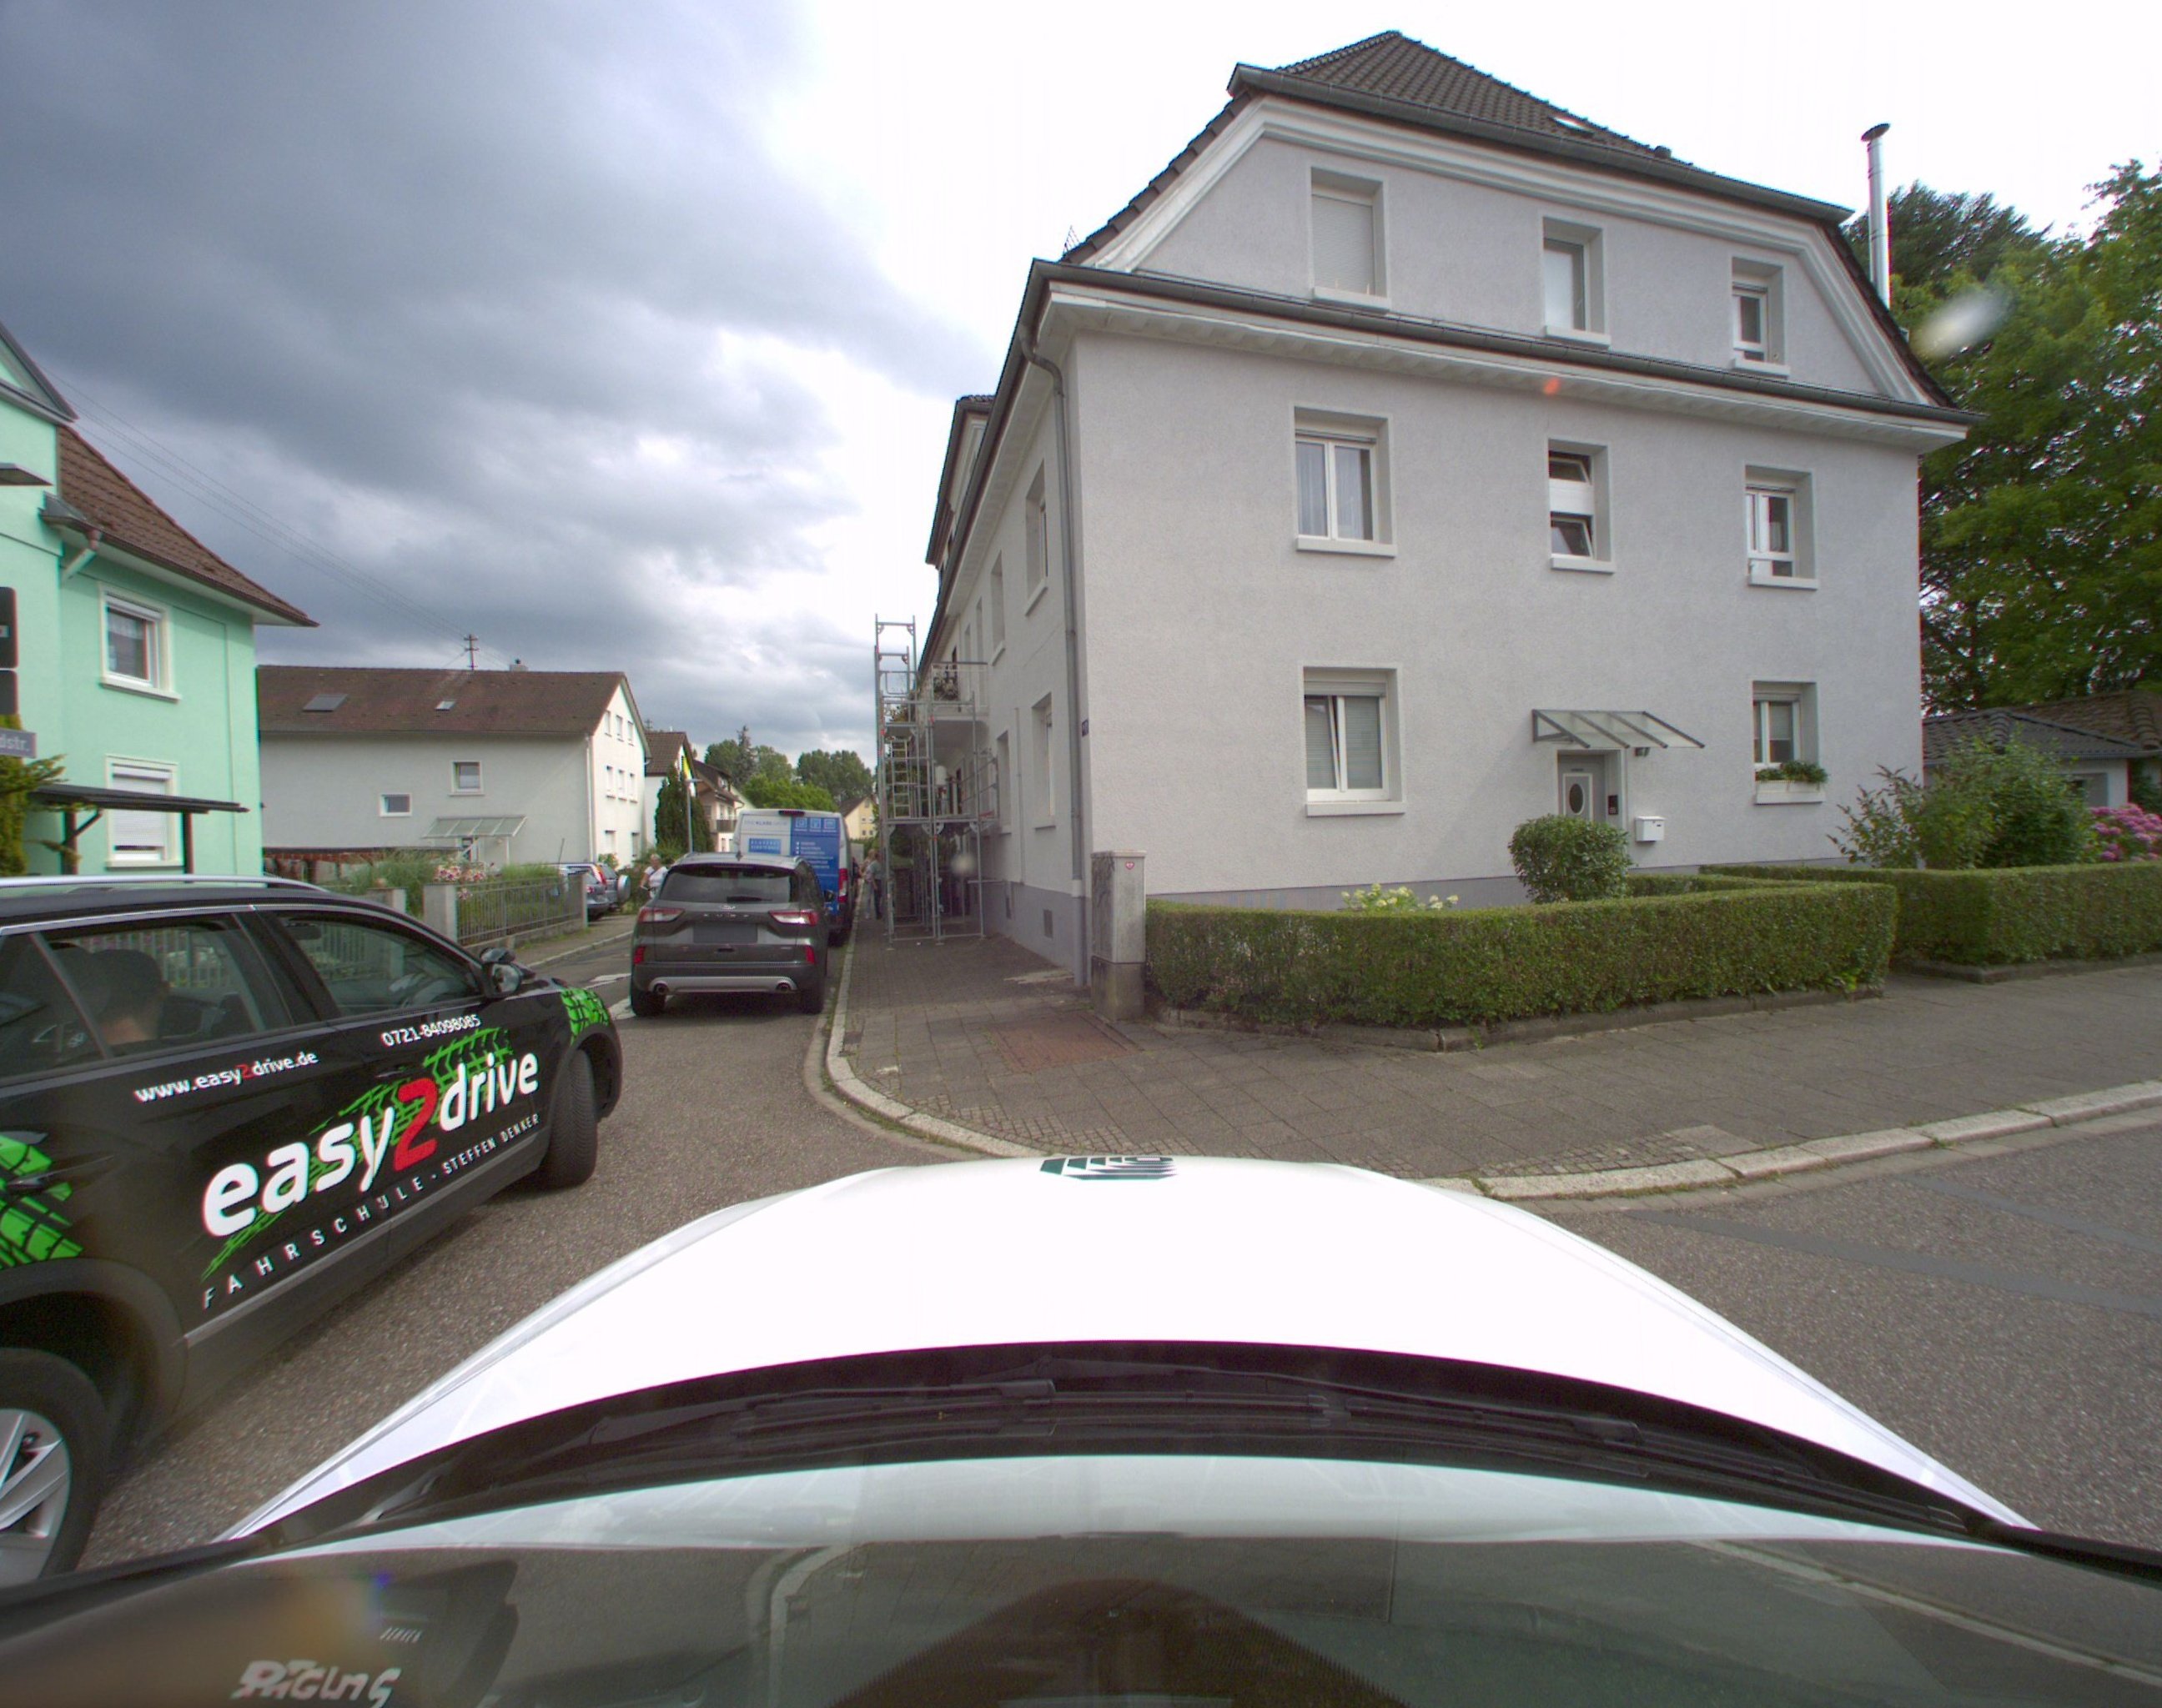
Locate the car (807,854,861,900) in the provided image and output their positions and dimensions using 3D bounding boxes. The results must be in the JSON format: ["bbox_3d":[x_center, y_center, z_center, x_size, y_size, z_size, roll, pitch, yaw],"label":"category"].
[{"bbox_3d":[-10.567,0.912,34.861,1.999,1.749,4.316,-2,1,-17],"label":"car"}]

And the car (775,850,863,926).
[{"bbox_3d":[-7.094,0.820,22.198,1.999,1.772,4.316,-2,1,-17],"label":"car"}]

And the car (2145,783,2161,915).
[{"bbox_3d":[17.135,-0.150,10.950,3.992,1.837,1.991,-2,0,-14],"label":"car"}]

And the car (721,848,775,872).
[{"bbox_3d":[-27.378,0.474,67.077,4.000,1.772,1.857,-2,-1,-20],"label":"car"}]

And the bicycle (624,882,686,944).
[{"bbox_3d":[-9.011,1.221,17.317,0.706,1.152,1.863,-3,1,-15],"label":"bicycle"}]

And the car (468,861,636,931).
[{"bbox_3d":[-14.671,1.124,22.792,3.582,1.667,1.577,-3,0,-19],"label":"car"}]

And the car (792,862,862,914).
[{"bbox_3d":[-8.414,1.043,27.054,1.999,1.455,4.316,-2,1,-17],"label":"car"}]

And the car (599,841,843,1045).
[{"bbox_3d":[-3.894,0.785,9.557,1.999,1.726,4.316,-2,1,-17],"label":"car"}]

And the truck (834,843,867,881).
[{"bbox_3d":[-17.321,0.551,61.118,2.135,2.657,4.558,-2,1,-17],"label":"truck"}]

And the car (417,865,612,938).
[{"bbox_3d":[-13.857,1.115,20.155,3.582,1.500,1.577,-3,0,-19],"label":"car"}]

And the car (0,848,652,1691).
[{"bbox_3d":[-3.056,0.793,2.530,1.816,1.520,4.030,-2,-1,-9],"label":"car"}]

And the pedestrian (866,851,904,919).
[{"bbox_3d":[-4.822,0.760,20.034,0.596,1.629,0.628,-3,-1,17],"label":"pedestrian"}]

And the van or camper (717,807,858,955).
[{"bbox_3d":[-5.705,0.439,16.488,2.196,2.459,5.028,-2,1,-15],"label":"van or camper"}]

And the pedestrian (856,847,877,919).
[{"bbox_3d":[-5.359,0.723,20.295,0.409,1.762,0.510,-2,-1,-18],"label":"pedestrian"}]

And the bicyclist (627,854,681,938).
[{"bbox_3d":[-9.007,0.868,17.219,0.697,1.666,0.970,-4,0,-14],"label":"bicyclist"}]
